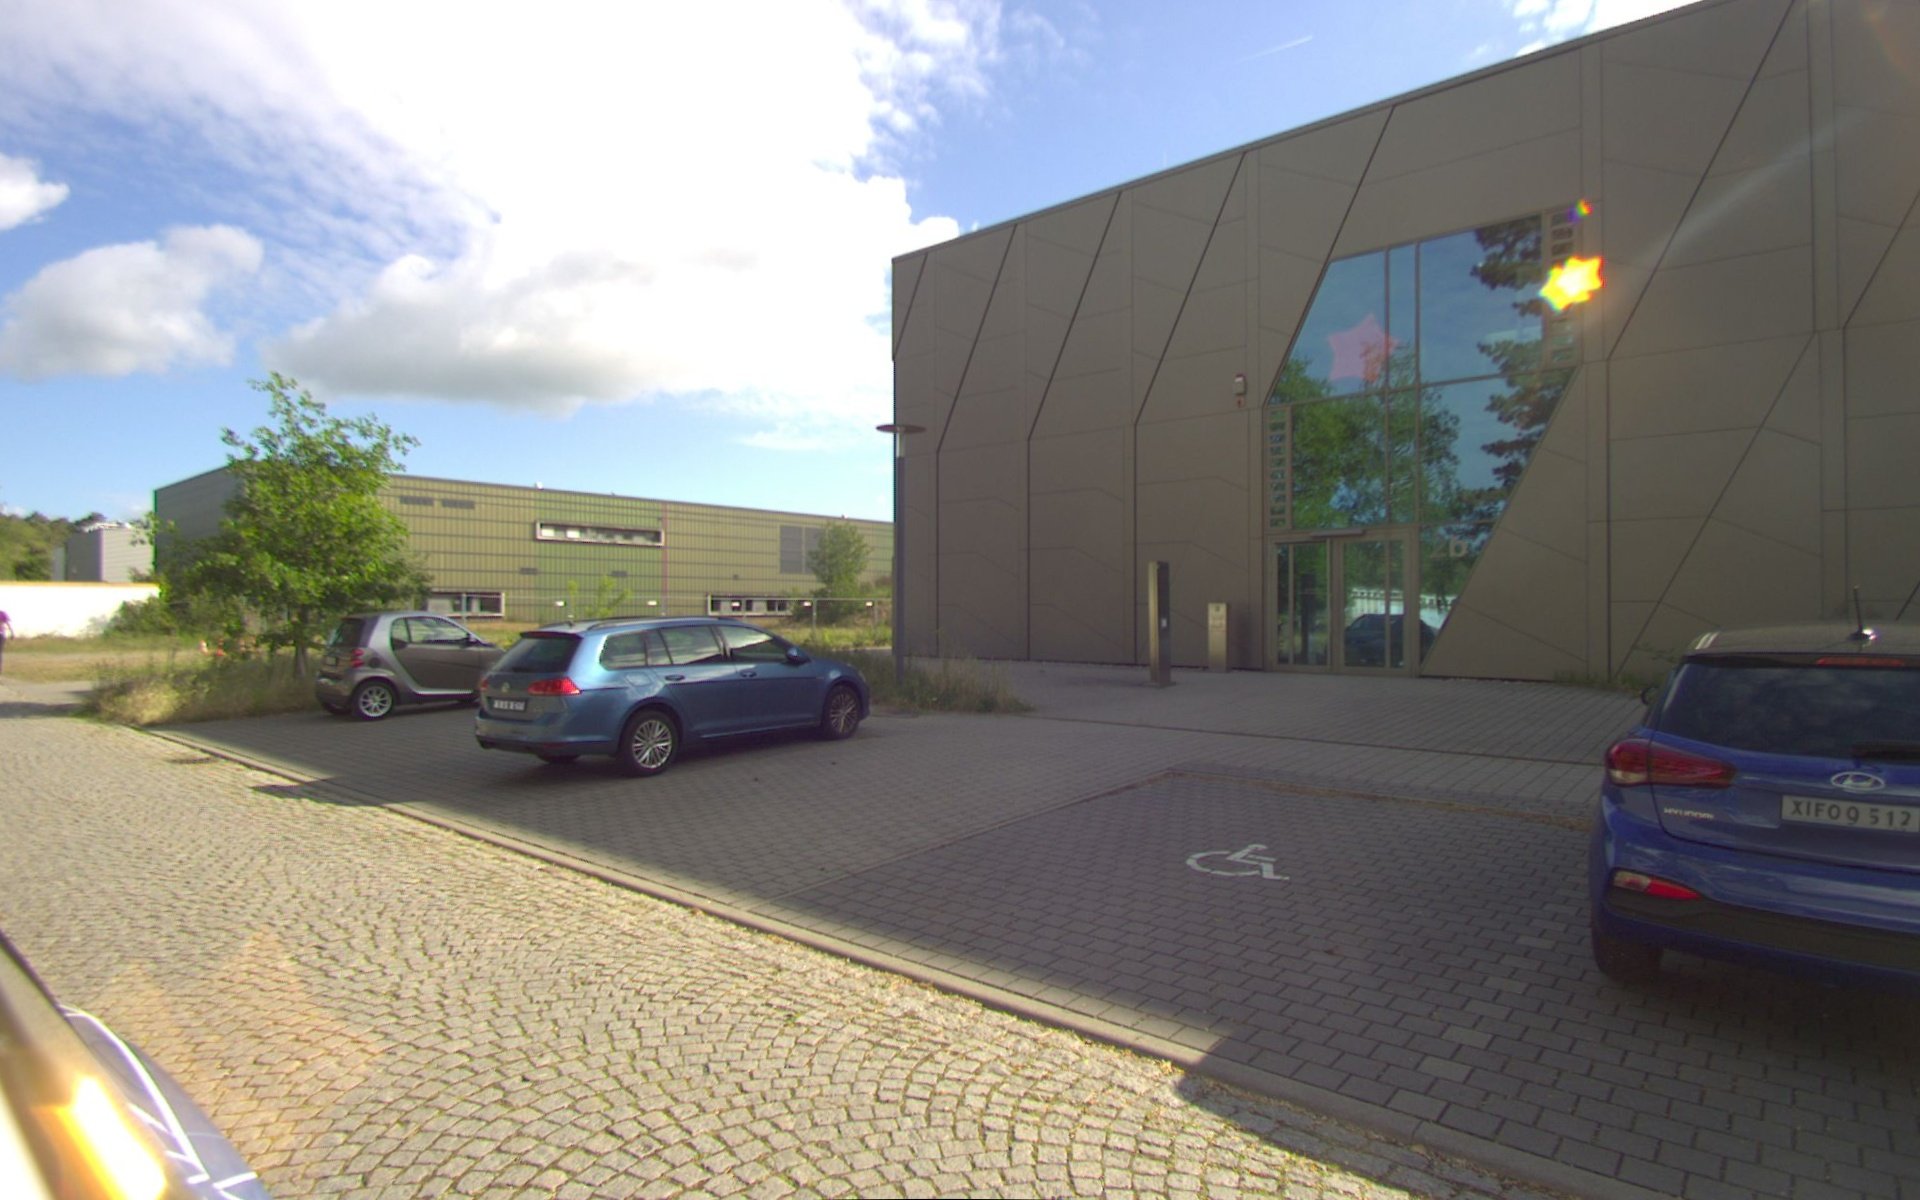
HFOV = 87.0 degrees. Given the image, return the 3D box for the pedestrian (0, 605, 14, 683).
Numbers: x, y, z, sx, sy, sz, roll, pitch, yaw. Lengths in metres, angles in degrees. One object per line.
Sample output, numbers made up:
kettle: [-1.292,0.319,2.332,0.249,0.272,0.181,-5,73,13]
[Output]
pedestrian: [-22.600,1.005,23.432,1.151,1.785,0.797,-1,-1,36]

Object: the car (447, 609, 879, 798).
car: [-2.907,0.893,10.747,1.678,1.475,4.216,0,1,38]

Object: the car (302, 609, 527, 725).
car: [-8.374,0.955,15.649,1.517,1.554,2.672,-1,1,39]

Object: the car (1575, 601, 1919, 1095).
car: [4.240,0.784,4.621,1.720,1.475,3.794,-1,1,43]
